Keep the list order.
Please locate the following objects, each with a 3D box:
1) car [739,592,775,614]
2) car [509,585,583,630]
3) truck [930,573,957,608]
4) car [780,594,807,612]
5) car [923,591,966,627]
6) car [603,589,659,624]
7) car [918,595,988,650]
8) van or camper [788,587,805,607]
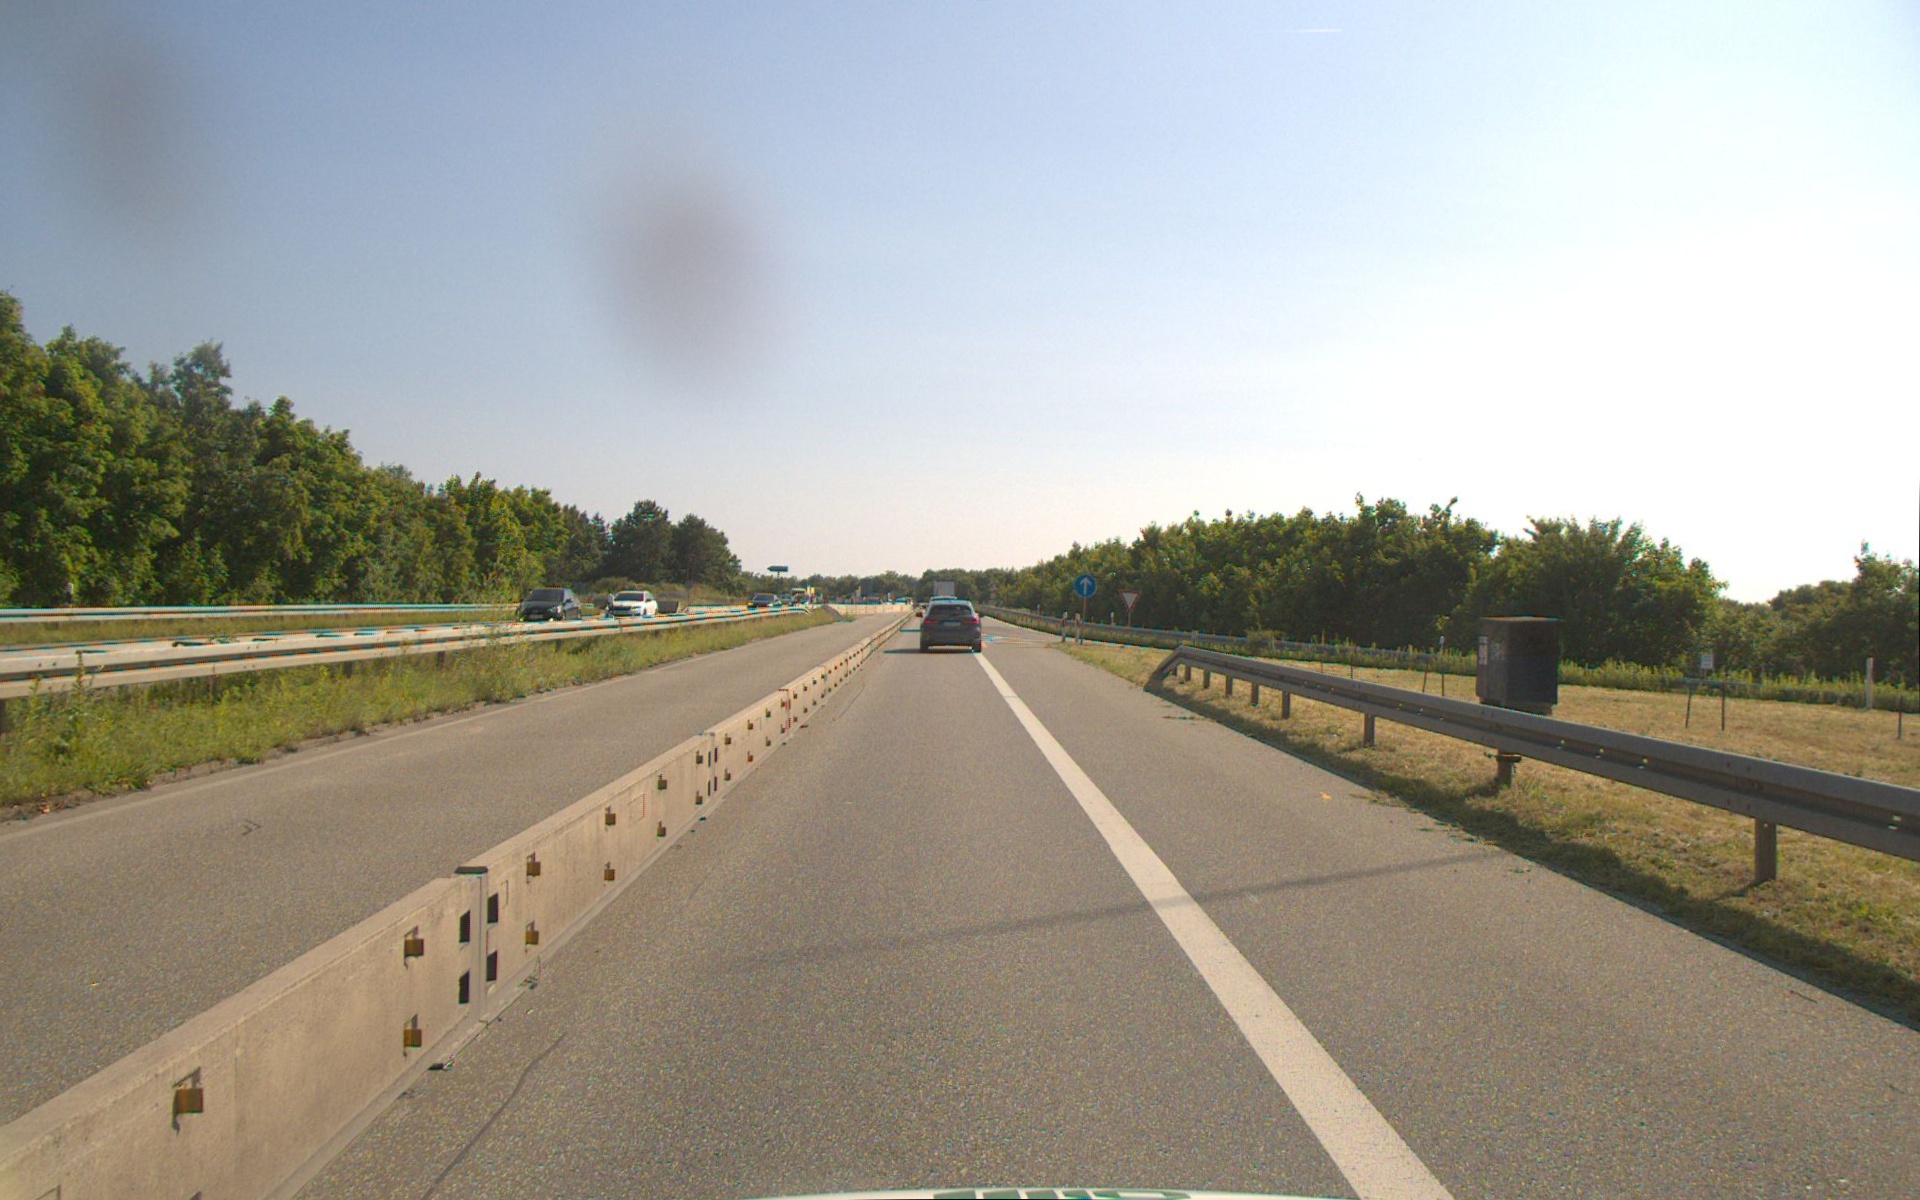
[{"bbox_3d":[-14.235,0.188,116.178,1.778,1.514,5.024,-1,0,1],"label":"car"},{"bbox_3d":[-15.034,0.272,60.220,1.703,1.520,4.108,2,0,-1],"label":"car"},{"bbox_3d":[-2.519,-1.357,246.457,3.685,4.997,14.131,2,0,-2],"label":"truck"},{"bbox_3d":[-13.934,0.265,138.432,1.760,1.459,4.592,1,0,0],"label":"car"},{"bbox_3d":[-0.721,0.420,78.526,1.953,1.594,4.000,2,0,-1],"label":"car"},{"bbox_3d":[-15.086,0.267,76.034,1.724,1.496,4.793,2,0,-2],"label":"car"},{"bbox_3d":[-0.248,0.607,47.823,1.882,1.520,3.998,0,0,-2],"label":"car"},{"bbox_3d":[-21.340,-0.389,215.528,1.955,2.419,6.192,-2,0,-7],"label":"van or camper"}]
